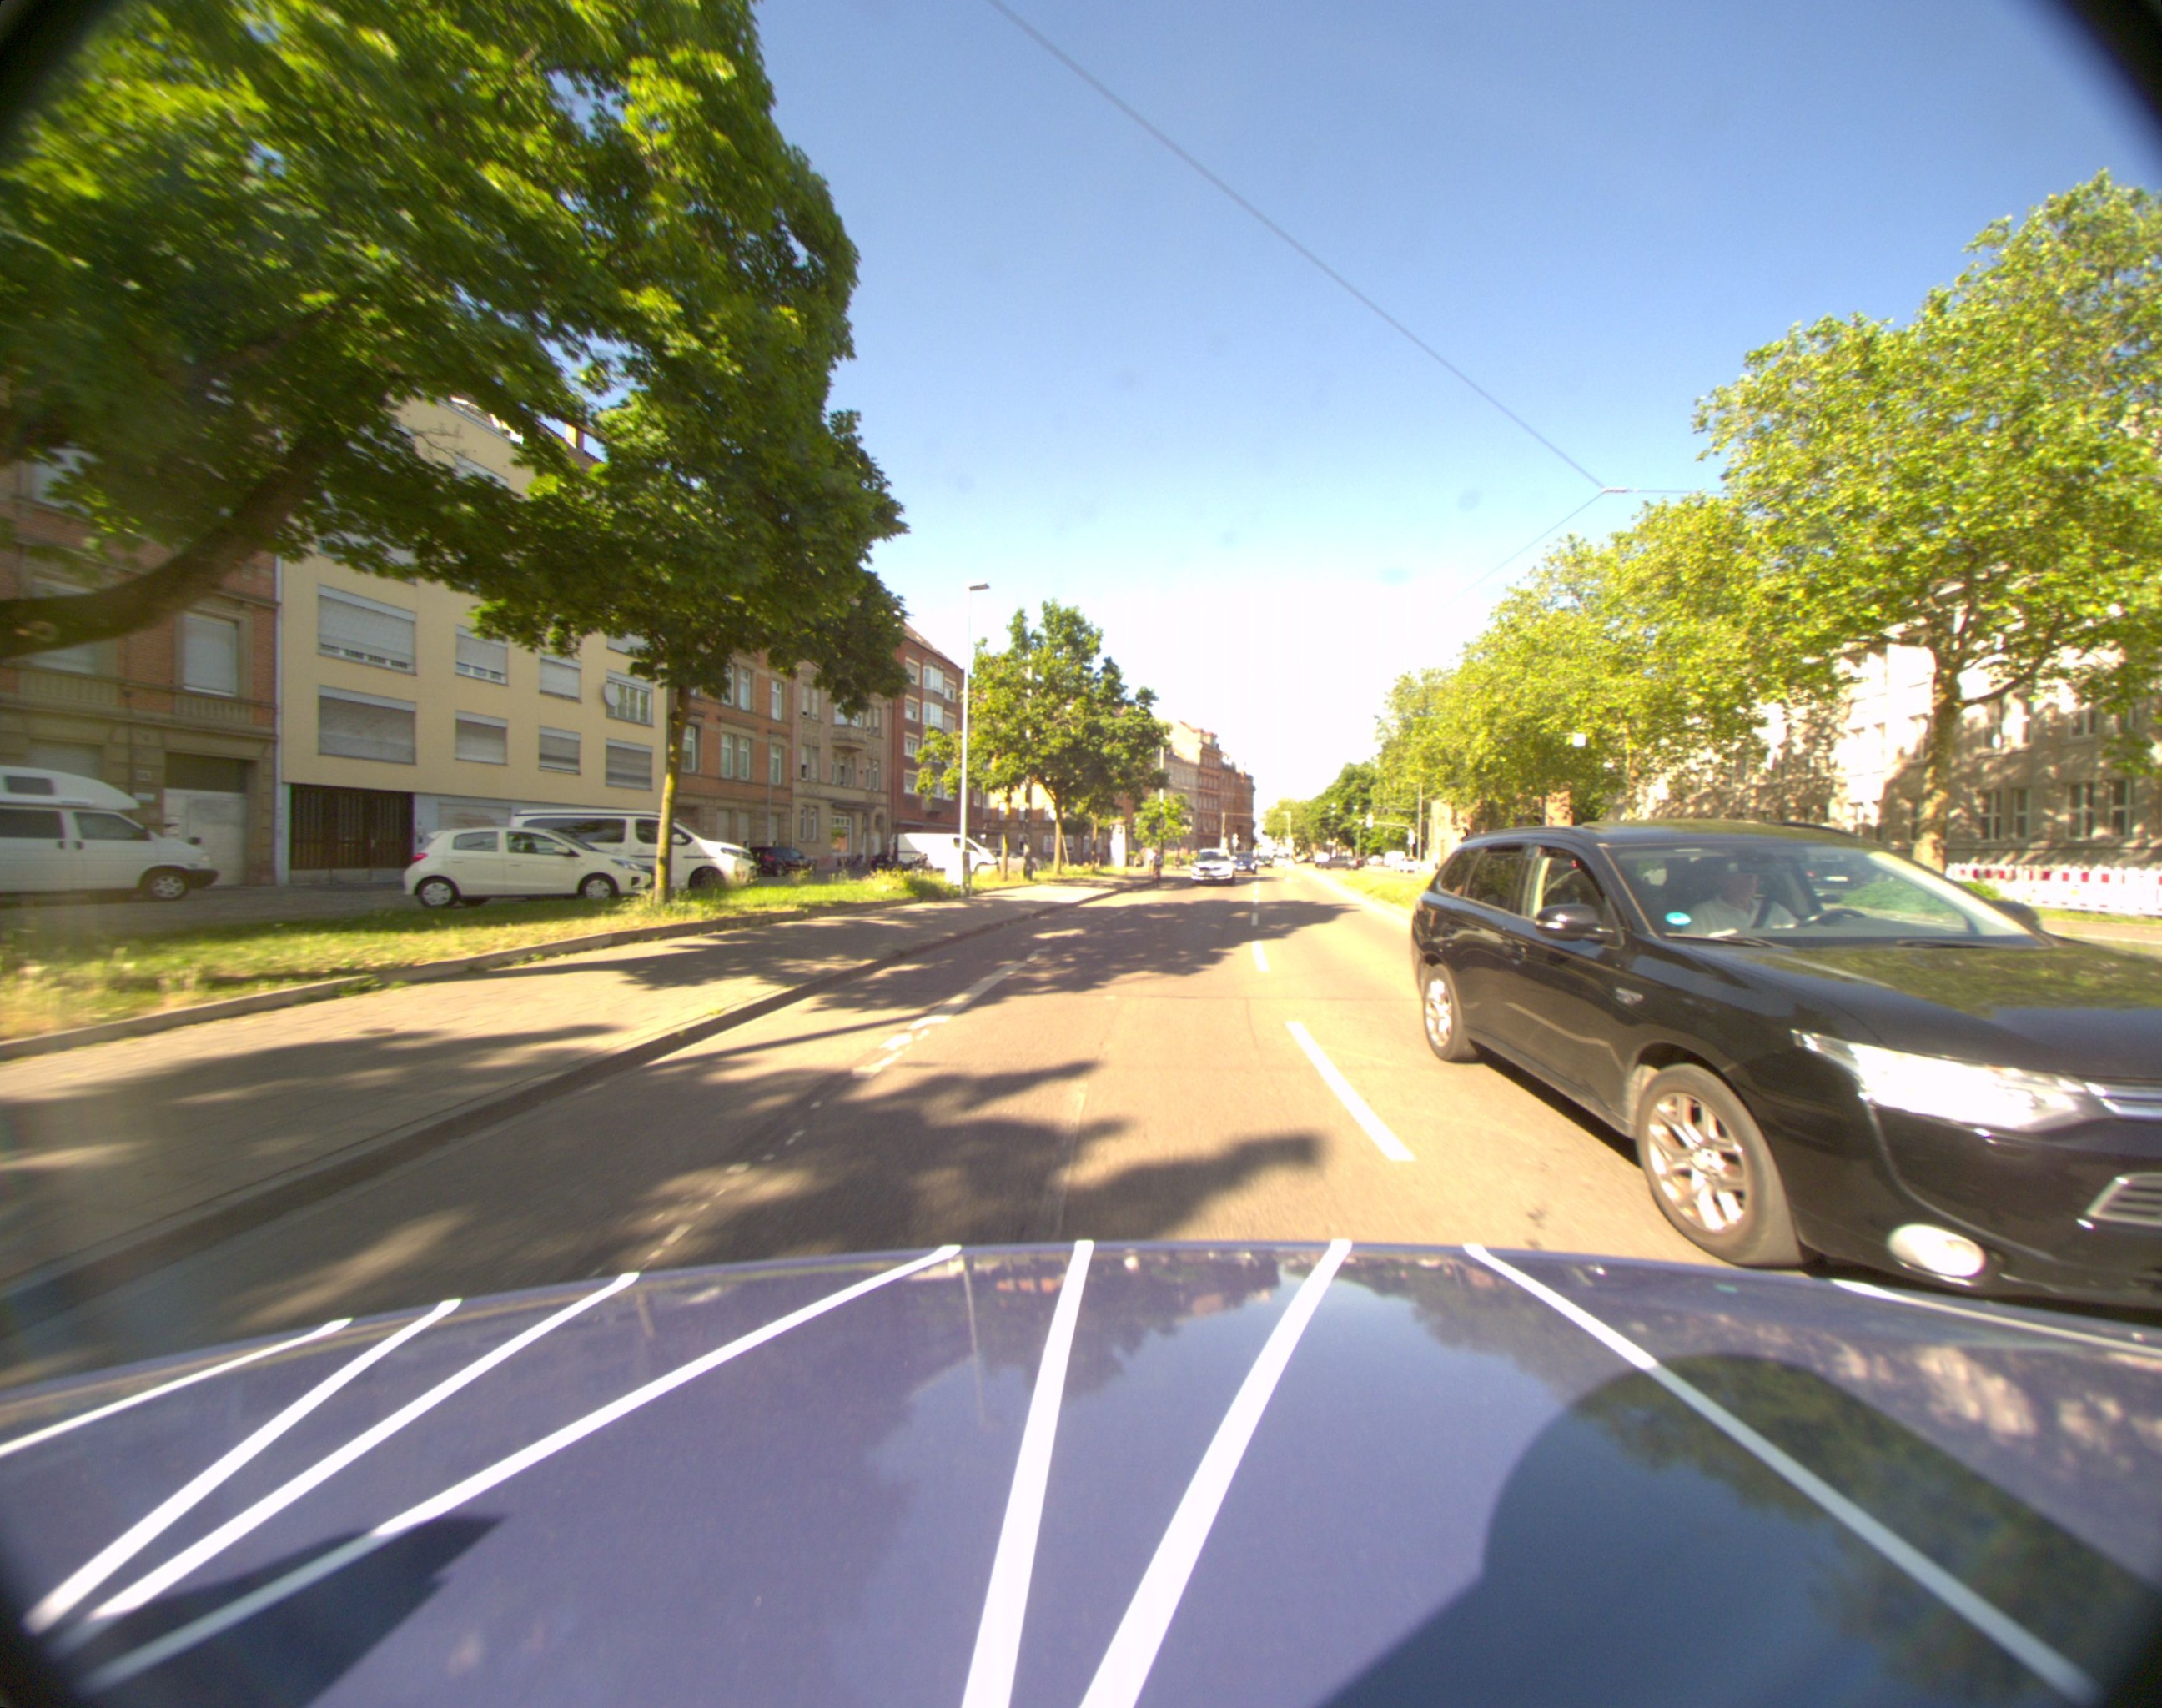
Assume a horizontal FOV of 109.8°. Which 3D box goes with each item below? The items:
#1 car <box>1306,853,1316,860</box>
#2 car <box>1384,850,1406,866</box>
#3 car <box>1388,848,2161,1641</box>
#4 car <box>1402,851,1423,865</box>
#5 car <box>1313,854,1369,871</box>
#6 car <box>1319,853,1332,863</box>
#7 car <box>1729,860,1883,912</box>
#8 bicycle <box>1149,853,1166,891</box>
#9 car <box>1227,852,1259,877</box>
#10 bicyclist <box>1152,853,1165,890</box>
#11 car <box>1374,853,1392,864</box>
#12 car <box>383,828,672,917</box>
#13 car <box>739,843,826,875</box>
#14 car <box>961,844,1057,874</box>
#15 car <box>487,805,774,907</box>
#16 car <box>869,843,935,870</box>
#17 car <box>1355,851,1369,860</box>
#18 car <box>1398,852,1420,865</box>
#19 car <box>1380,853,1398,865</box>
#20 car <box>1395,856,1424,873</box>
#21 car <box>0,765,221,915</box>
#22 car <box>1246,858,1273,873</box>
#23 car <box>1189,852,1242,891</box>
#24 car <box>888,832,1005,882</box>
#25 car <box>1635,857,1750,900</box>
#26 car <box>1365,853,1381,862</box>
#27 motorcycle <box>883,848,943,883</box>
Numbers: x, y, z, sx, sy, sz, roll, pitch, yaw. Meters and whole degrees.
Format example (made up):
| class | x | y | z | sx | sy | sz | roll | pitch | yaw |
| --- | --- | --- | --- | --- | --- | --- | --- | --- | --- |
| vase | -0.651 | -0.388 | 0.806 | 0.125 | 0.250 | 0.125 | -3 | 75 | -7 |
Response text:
| class | x | y | z | sx | sy | sz | roll | pitch | yaw |
| --- | --- | --- | --- | --- | --- | --- | --- | --- | --- |
| car | 48.257 | 0.459 | 159.626 | 1.795 | 1.421 | 4.381 | 1 | 0 | 14 |
| car | 42.223 | 0.473 | 102.148 | 1.919 | 2.084 | 4.597 | 1 | 0 | 12 |
| car | 3.228 | 0.827 | 3.868 | 1.840 | 1.672 | 4.644 | 0 | 1 | 5 |
| car | 40.484 | 0.476 | 92.769 | 1.777 | 1.564 | 3.682 | 1 | 0 | 15 |
| car | 25.709 | 0.815 | 75.211 | 1.840 | 1.445 | 4.946 | 1 | 1 | -41 |
| car | 45.777 | 0.753 | 142.514 | 2.063 | 1.880 | 4.523 | 3 | 1 | 16 |
| car | 23.737 | 0.990 | 25.123 | 1.832 | 1.484 | 4.186 | 1 | 0 | 14 |
| bicycle | 3.423 | 0.769 | 33.913 | 0.438 | 1.629 | 1.941 | 1 | 0 | 14 |
| car | 11.207 | 0.692 | 52.246 | 1.996 | 1.608 | 4.268 | 1 | 1 | 14 |
| bicyclist | 3.470 | 0.775 | 34.061 | 0.438 | 1.629 | 0.780 | 1 | 1 | 14 |
| car | 44.592 | 0.629 | 112.302 | 1.793 | 1.543 | 4.311 | 1 | 0 | 12 |
| car | -10.152 | 0.335 | 14.331 | 4.035 | 1.470 | 1.809 | 2 | 1 | -20 |
| car | -14.281 | 0.220 | 36.616 | 1.730 | 1.412 | 4.298 | 2 | 0 | 13 |
| car | -3.995 | 0.289 | 41.914 | 4.885 | 1.426 | 2.017 | 2 | 0 | -20 |
| car | -9.942 | 0.062 | 17.308 | 5.191 | 2.001 | 2.097 | 2 | 1 | -16 |
| car | -11.077 | 0.144 | 47.395 | 1.996 | 1.465 | 4.494 | -3 | 1 | 16 |
| car | 49.523 | 0.283 | 133.823 | 1.793 | 1.543 | 4.311 | 1 | 0 | 14 |
| car | 41.689 | 0.574 | 96.655 | 1.793 | 1.543 | 3.864 | 1 | 0 | 13 |
| car | 43.576 | 0.675 | 107.583 | 1.793 | 1.543 | 3.864 | 1 | 0 | 13 |
| car | 29.520 | 0.911 | 68.351 | 1.832 | 1.444 | 4.175 | 2 | 1 | 15 |
| car | -19.319 | -0.269 | 13.734 | 1.996 | 2.570 | 4.518 | 2 | 0 | 15 |
| car | 19.032 | 1.218 | 81.271 | 1.889 | 1.419 | 4.376 | 0 | 1 | 0 |
| car | 6.266 | 0.731 | 35.103 | 1.799 | 1.626 | 4.399 | 1 | 1 | 18 |
| car | -6.161 | 0.151 | 34.668 | 4.886 | 2.063 | 2.016 | 2 | 0 | -21 |
| car | 25.291 | 0.971 | 31.660 | 1.833 | 1.578 | 4.399 | 2 | 1 | 11 |
| car | 47.024 | 0.541 | 122.404 | 1.793 | 1.543 | 4.311 | 1 | 0 | 14 |
| motorcycle | -6.966 | 0.485 | 31.577 | 2.266 | 1.412 | 0.852 | 2 | 0 | -36 |
